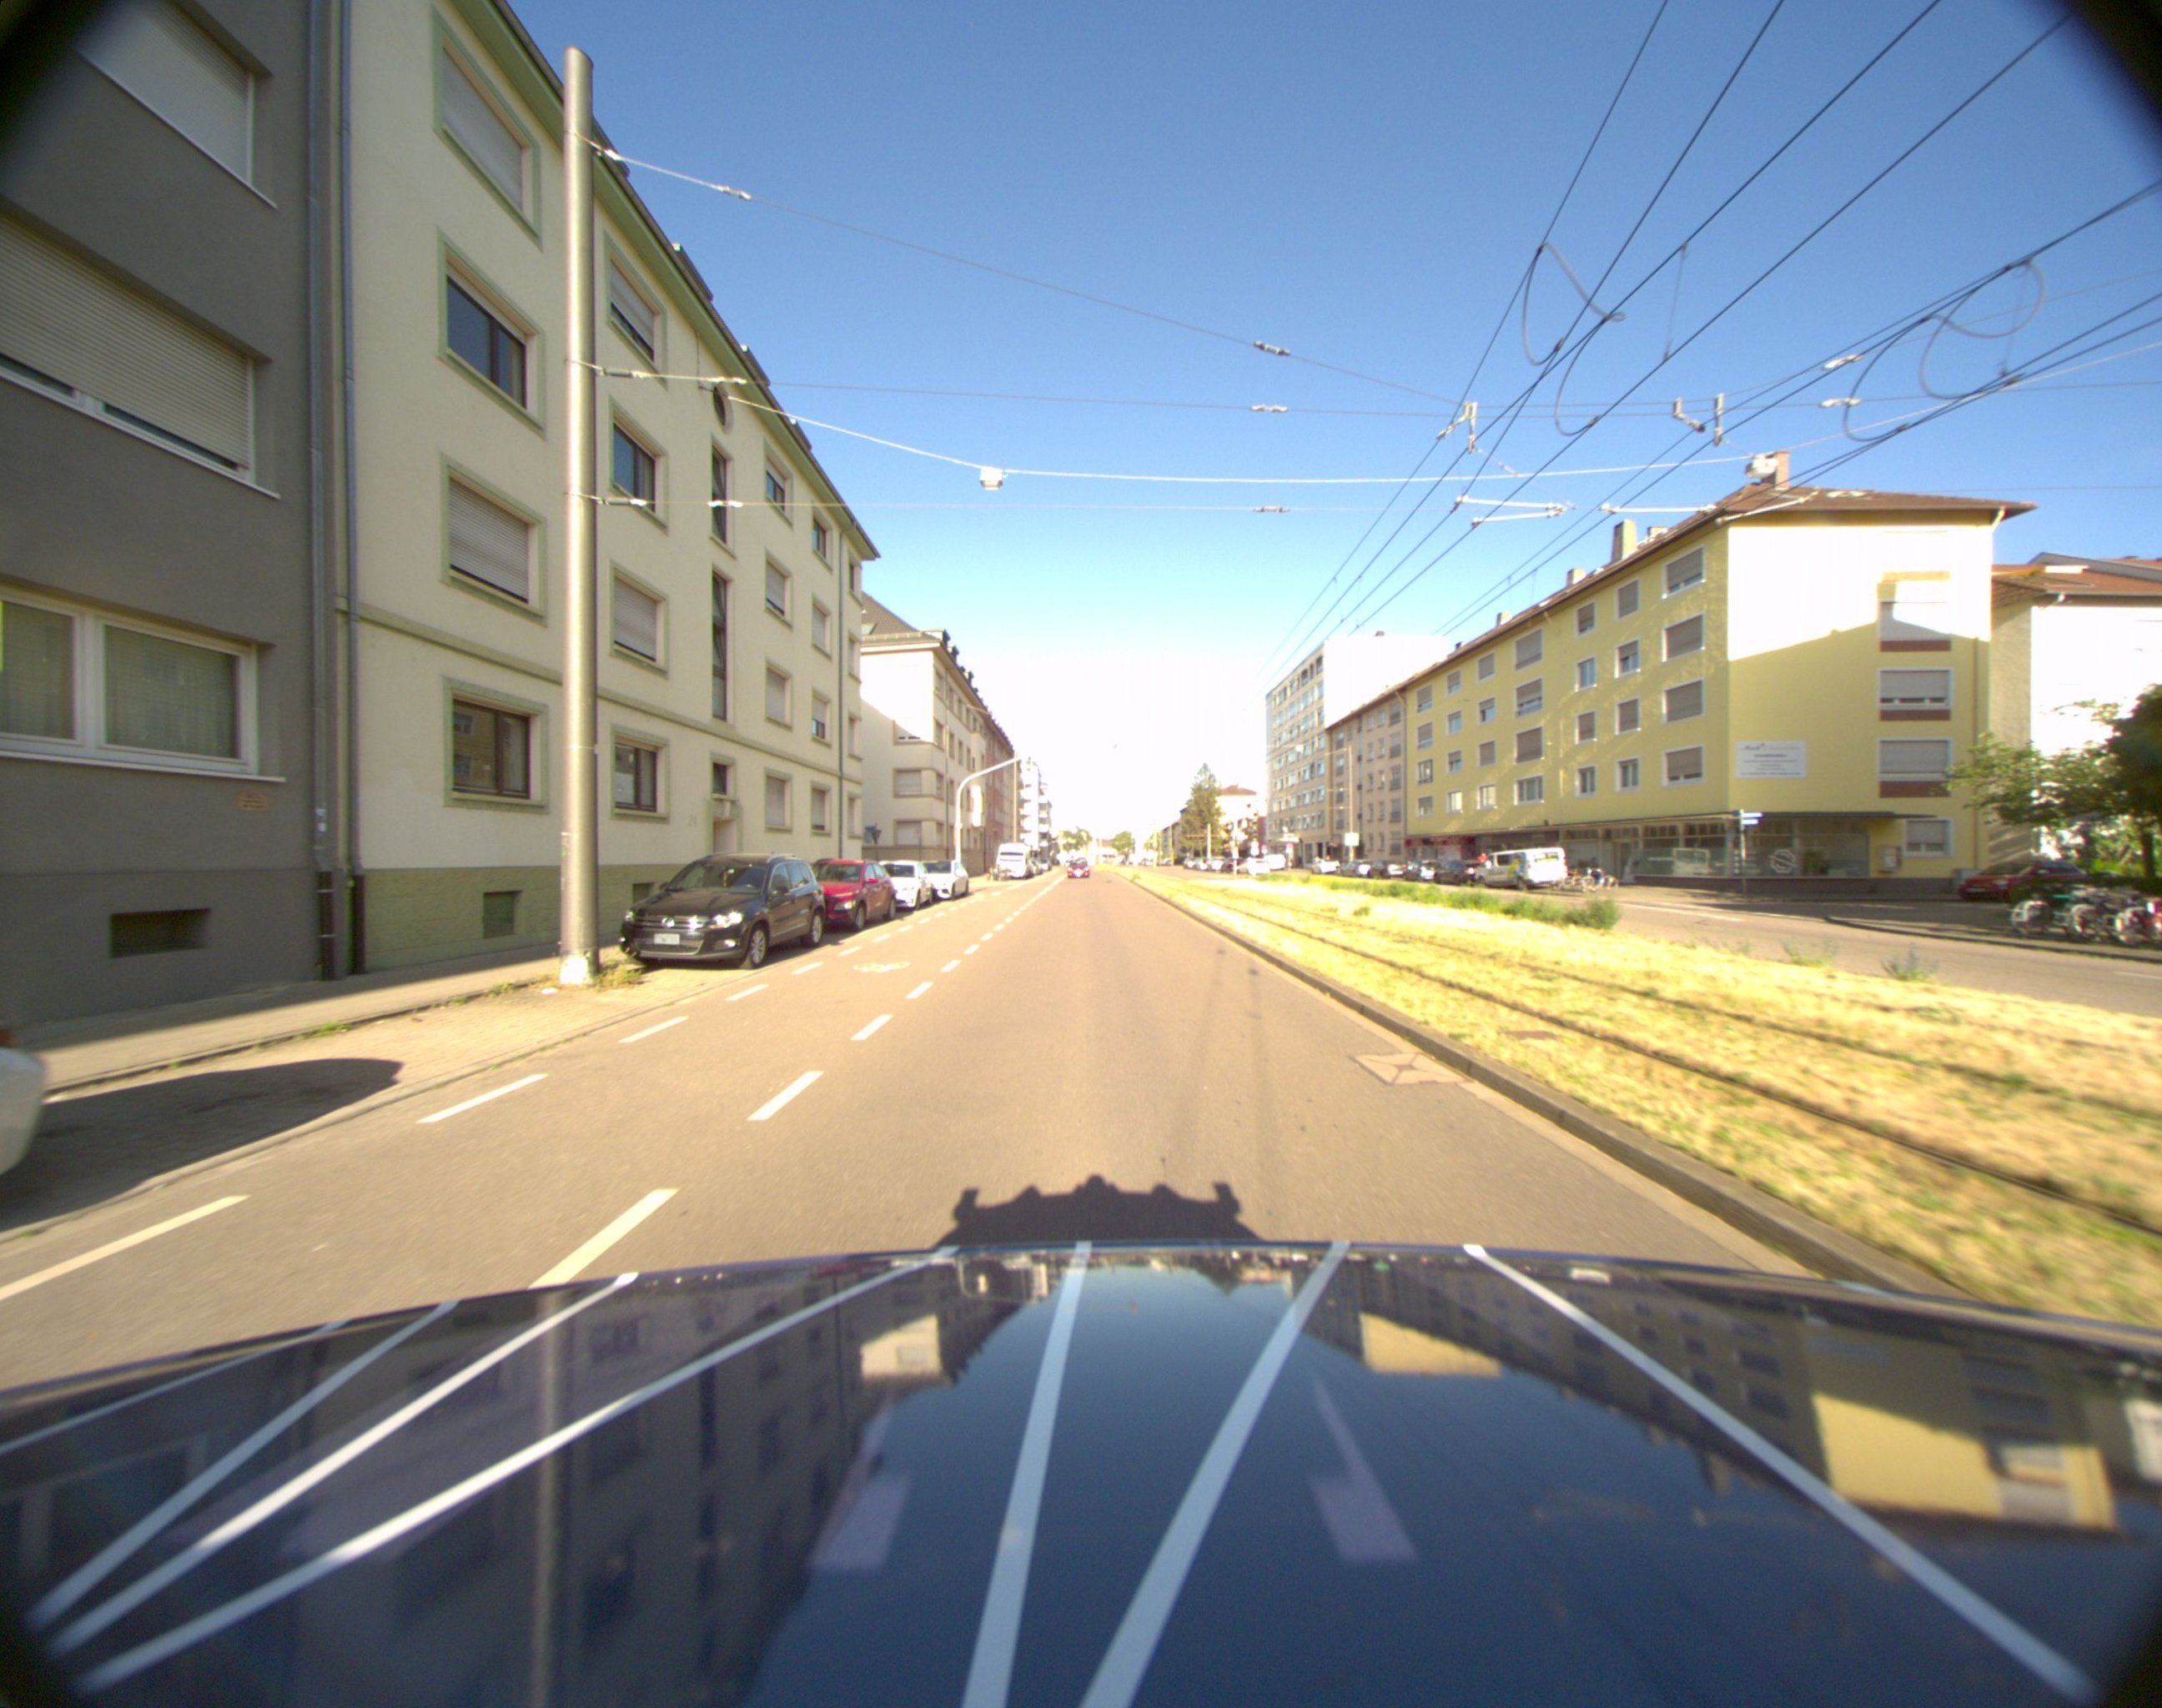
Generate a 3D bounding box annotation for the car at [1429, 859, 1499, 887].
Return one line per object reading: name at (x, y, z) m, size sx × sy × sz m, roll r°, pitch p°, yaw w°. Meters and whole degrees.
car at (22.543, 1.089, 44.947) m, size 1.787 × 1.465 × 4.596 m, roll -3°, pitch 0°, yaw 0°

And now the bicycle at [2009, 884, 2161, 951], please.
bicycle at (18.392, 1.147, 13.809) m, size 2.052 × 1.086 × 0.616 m, roll -3°, pitch 0°, yaw 7°

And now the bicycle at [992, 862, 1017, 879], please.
bicycle at (-5.049, 1.116, 50.130) m, size 0.487 × 1.080 × 2.023 m, roll -3°, pitch 0°, yaw -42°

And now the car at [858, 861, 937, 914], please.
car at (-5.551, 0.976, 23.455) m, size 1.640 × 1.450 × 4.080 m, roll 1°, pitch 0°, yaw -3°

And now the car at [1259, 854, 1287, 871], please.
car at (23.274, 0.970, 92.098) m, size 1.999 × 1.887 × 4.669 m, roll -3°, pitch 0°, yaw -1°

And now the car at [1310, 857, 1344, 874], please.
car at (22.680, 1.043, 70.135) m, size 1.763 × 1.477 × 4.200 m, roll -3°, pitch 0°, yaw 0°

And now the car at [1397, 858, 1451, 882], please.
car at (22.709, 1.038, 50.445) m, size 1.787 × 1.377 × 3.768 m, roll -3°, pitch 0°, yaw 0°

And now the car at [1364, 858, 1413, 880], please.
car at (22.653, 1.078, 56.122) m, size 1.787 × 1.412 × 4.415 m, roll -3°, pitch 0°, yaw 0°

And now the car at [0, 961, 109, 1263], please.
car at (-5.610, 1.134, 1.546) m, size 1.706 × 1.268 × 4.303 m, roll 3°, pitch 0°, yaw 0°

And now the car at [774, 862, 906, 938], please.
car at (-5.398, 0.963, 17.604) m, size 1.639 × 1.508 × 4.189 m, roll 1°, pitch 0°, yaw 1°

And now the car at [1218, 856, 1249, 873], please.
car at (14.821, 0.994, 73.867) m, size 1.788 × 1.519 × 4.413 m, roll 1°, pitch 0°, yaw -5°

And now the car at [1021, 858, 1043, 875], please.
car at (-4.522, 1.138, 70.459) m, size 1.625 × 1.452 × 4.055 m, roll 2°, pitch 0°, yaw 2°

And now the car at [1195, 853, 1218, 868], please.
car at (14.572, 0.745, 88.324) m, size 1.861 × 1.541 × 4.240 m, roll 2°, pitch 0°, yaw -1°

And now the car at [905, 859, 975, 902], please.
car at (-5.157, 0.941, 28.373) m, size 1.698 × 1.450 × 4.379 m, roll 1°, pitch 0°, yaw 1°

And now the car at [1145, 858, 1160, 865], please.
car at (16.324, 1.769, 173.398) m, size 1.718 × 1.379 × 3.720 m, roll -3°, pitch 0°, yaw 31°

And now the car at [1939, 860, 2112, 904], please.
car at (33.273, 0.971, 26.844) m, size 3.998 × 1.405 × 1.772 m, roll 1°, pitch 0°, yaw -2°

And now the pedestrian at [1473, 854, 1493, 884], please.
pedestrian at (24.099, 0.903, 45.569) m, size 0.672 × 1.733 × 0.845 m, roll -3°, pitch 0°, yaw 0°

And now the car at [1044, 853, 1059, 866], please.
car at (-3.573, 0.716, 93.431) m, size 1.762 × 1.543 × 2.649 m, roll 1°, pitch 0°, yaw -1°

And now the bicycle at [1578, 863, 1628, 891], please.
bicycle at (22.620, 0.988, 32.951) m, size 1.824 × 1.099 × 0.390 m, roll -3°, pitch 0°, yaw 1°

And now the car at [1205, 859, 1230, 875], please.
car at (14.548, 1.358, 81.172) m, size 1.787 × 1.572 × 4.608 m, roll 1°, pitch 0°, yaw 0°

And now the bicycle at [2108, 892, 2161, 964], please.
bicycle at (18.272, 1.167, 12.350) m, size 2.052 × 1.086 × 0.616 m, roll -3°, pitch 0°, yaw 7°

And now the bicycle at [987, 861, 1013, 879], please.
bicycle at (-5.279, 1.049, 49.425) m, size 1.912 × 1.081 × 0.474 m, roll 2°, pitch 4°, yaw 44°

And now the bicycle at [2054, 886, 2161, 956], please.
bicycle at (18.328, 1.140, 13.106) m, size 2.052 × 1.086 × 0.616 m, roll -3°, pitch 0°, yaw 7°

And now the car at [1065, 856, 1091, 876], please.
car at (-0.216, 0.884, 57.235) m, size 1.862 × 1.461 × 3.809 m, roll 1°, pitch 0°, yaw 1°

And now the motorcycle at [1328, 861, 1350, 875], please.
motorcycle at (22.443, 1.238, 66.069) m, size 2.115 × 1.132 × 0.486 m, roll -3°, pitch 0°, yaw -33°

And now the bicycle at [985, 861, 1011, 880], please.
bicycle at (-5.273, 1.048, 48.165) m, size 1.912 × 1.080 × 0.475 m, roll 2°, pitch -1°, yaw 44°

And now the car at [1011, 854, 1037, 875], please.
car at (-4.612, 0.864, 61.821) m, size 1.852 × 1.627 × 4.574 m, roll 1°, pitch 0°, yaw -1°

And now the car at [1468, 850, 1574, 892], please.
car at (22.578, 0.838, 39.311) m, size 1.999 × 1.938 × 5.499 m, roll -3°, pitch 0°, yaw -2°

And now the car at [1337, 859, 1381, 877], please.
car at (22.518, 1.113, 61.720) m, size 1.787 × 1.377 × 4.414 m, roll -3°, pitch 0°, yaw -2°

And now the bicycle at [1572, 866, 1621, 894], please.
bicycle at (22.647, 1.143, 33.371) m, size 1.824 × 1.099 × 0.390 m, roll -3°, pitch 0°, yaw 1°

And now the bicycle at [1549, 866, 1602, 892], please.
bicycle at (22.760, 1.158, 34.973) m, size 2.103 × 1.099 × 0.472 m, roll -3°, pitch 0°, yaw 1°

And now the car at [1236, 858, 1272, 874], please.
car at (15.233, 1.059, 67.136) m, size 1.839 × 1.377 × 4.413 m, roll 1°, pitch 0°, yaw -5°

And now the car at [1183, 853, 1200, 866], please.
car at (14.773, 0.735, 101.480) m, size 1.617 × 1.550 × 4.000 m, roll 2°, pitch 0°, yaw 0°

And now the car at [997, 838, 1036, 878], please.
car at (-4.560, 0.276, 54.944) m, size 2.156 × 2.680 × 6.292 m, roll 2°, pitch 0°, yaw 0°

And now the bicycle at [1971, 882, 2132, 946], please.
bicycle at (18.459, 1.142, 14.488) m, size 2.052 × 1.086 × 0.616 m, roll -3°, pitch 0°, yaw 7°

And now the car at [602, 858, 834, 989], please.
car at (-5.456, 0.927, 12.114) m, size 1.640 × 1.638 × 4.373 m, roll 2°, pitch 0°, yaw -2°
